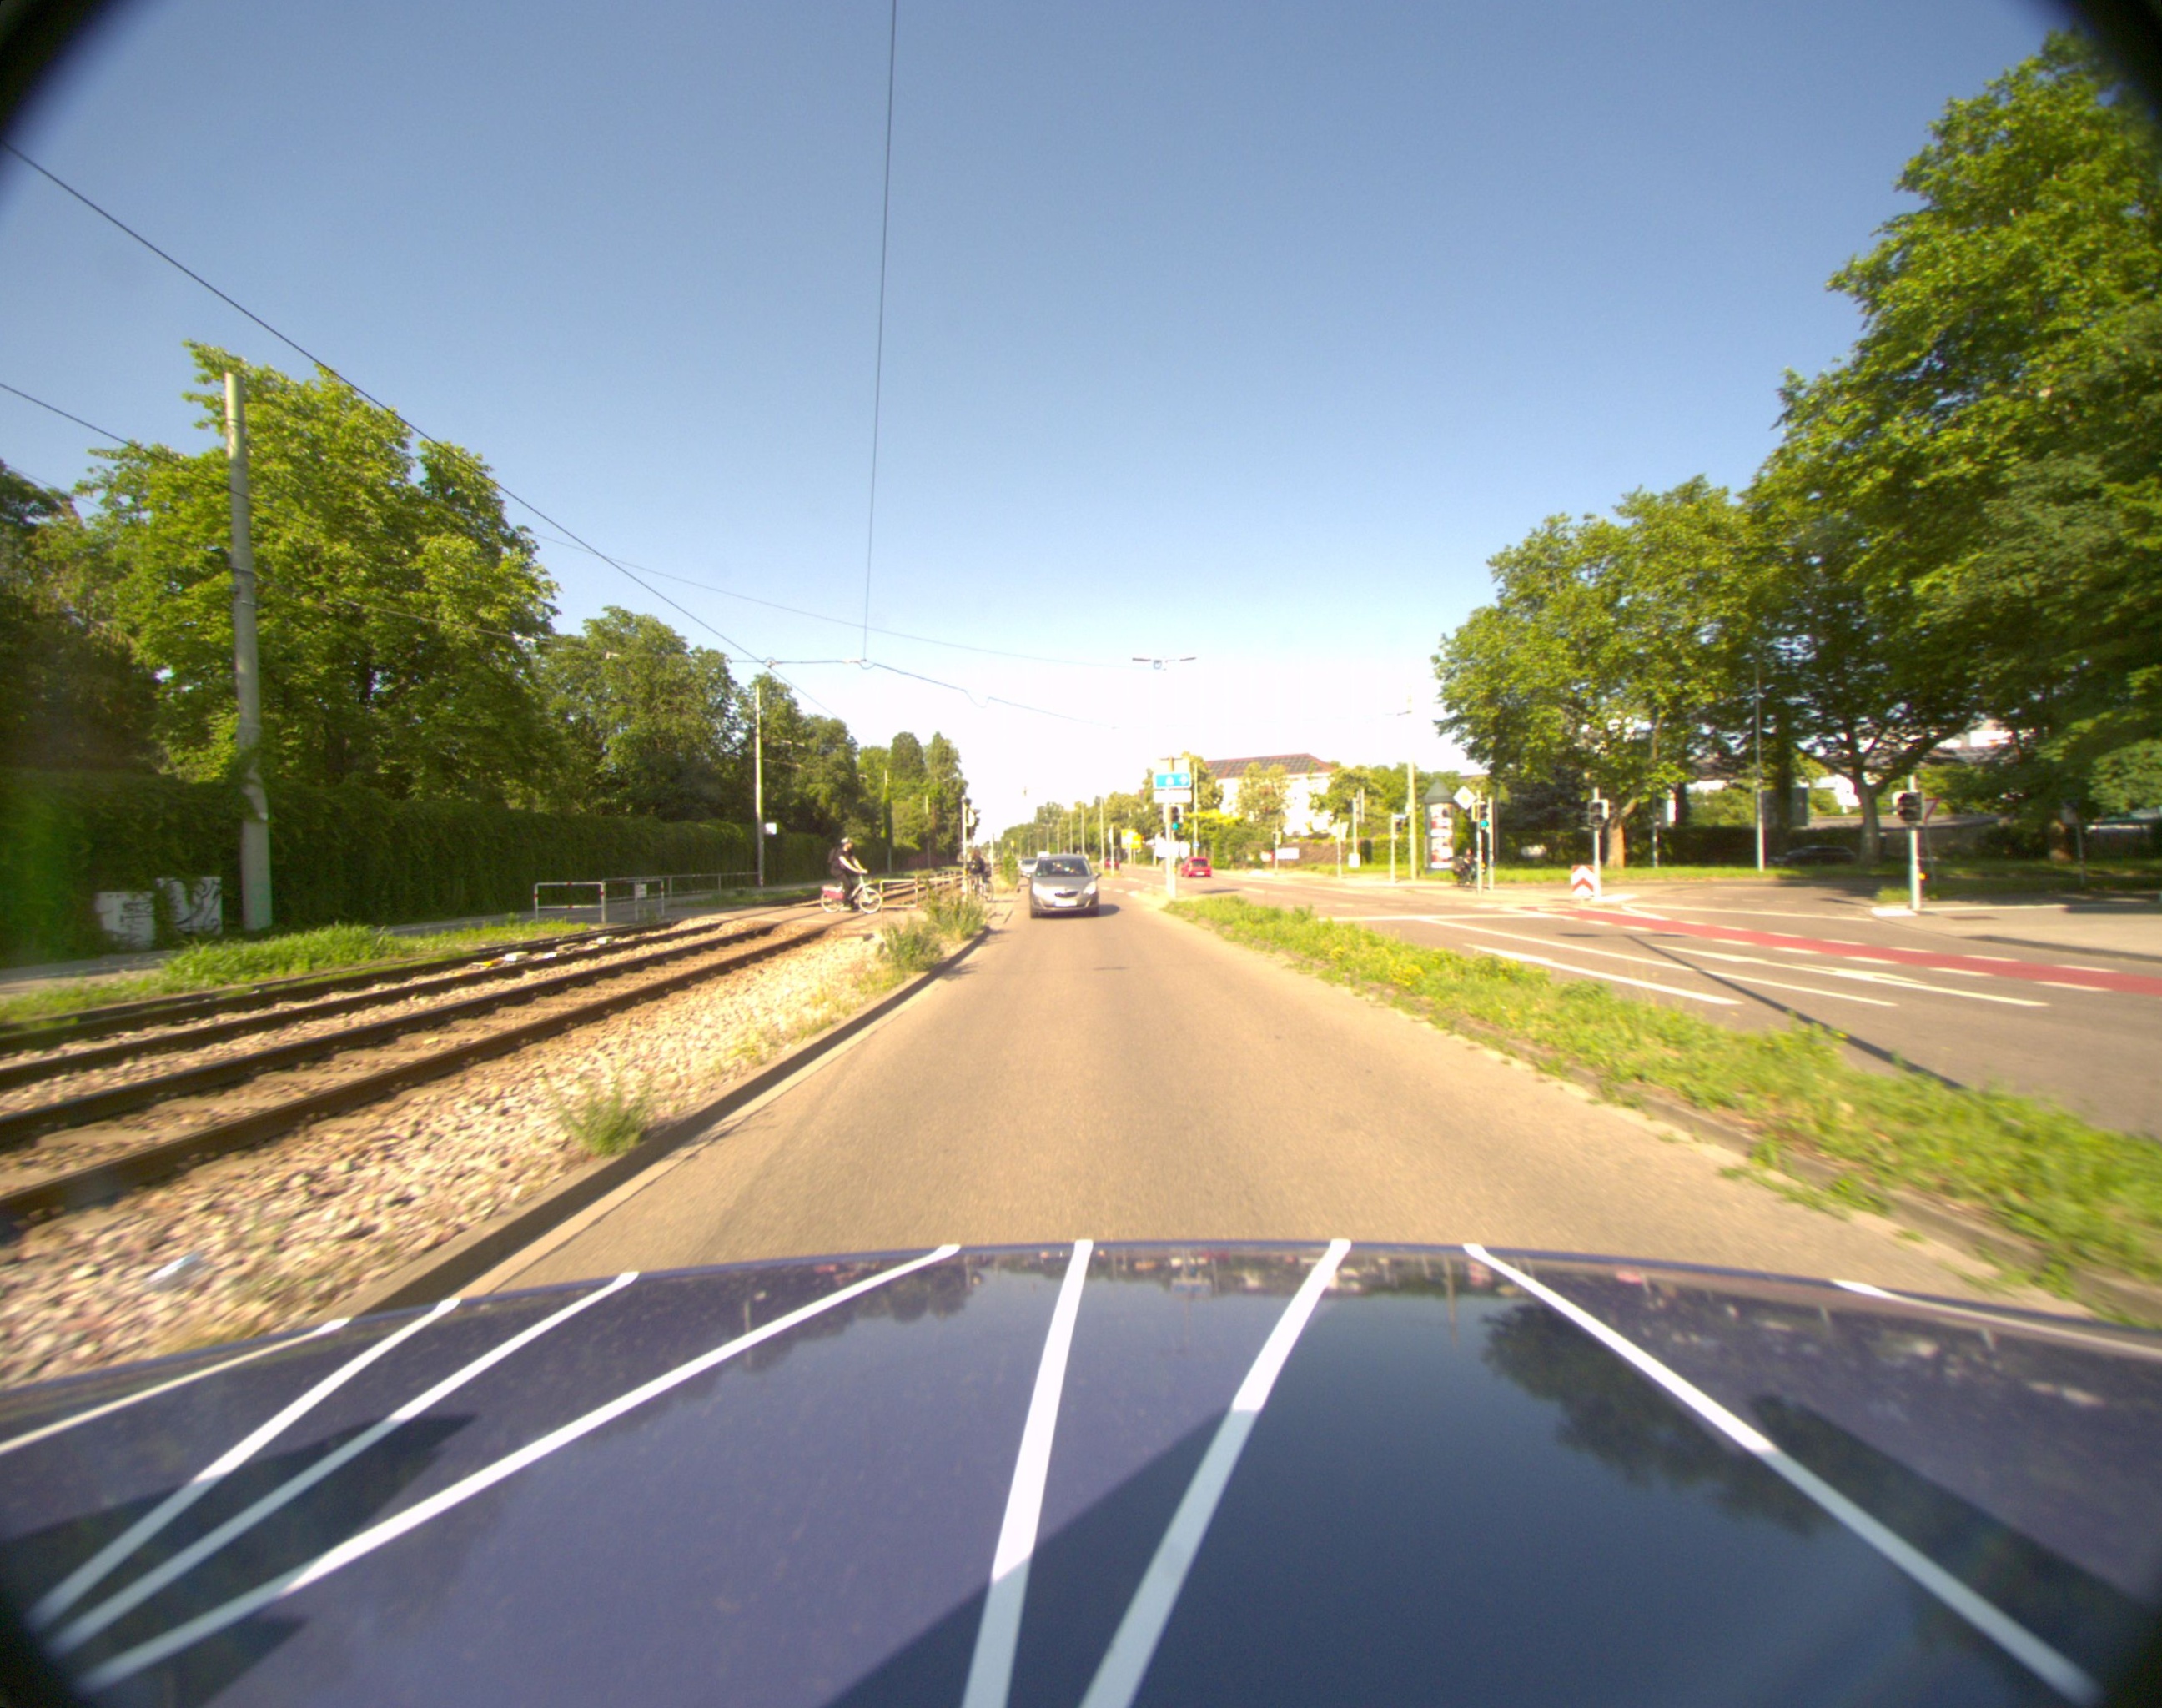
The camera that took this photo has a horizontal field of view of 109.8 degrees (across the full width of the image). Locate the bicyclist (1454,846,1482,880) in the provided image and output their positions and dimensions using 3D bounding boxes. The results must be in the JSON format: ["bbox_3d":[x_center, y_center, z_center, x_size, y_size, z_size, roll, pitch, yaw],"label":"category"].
[{"bbox_3d":[16.667,0.390,32.723,0.663,1.444,1.051,-1,1,1],"label":"bicyclist"}]

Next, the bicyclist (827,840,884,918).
[{"bbox_3d":[-5.897,0.642,19.912,1.034,1.982,0.949,-1,1,22],"label":"bicyclist"}]

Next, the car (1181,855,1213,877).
[{"bbox_3d":[7.940,0.820,52.192,1.578,1.408,3.333,-1,0,-2],"label":"car"}]

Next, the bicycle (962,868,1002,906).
[{"bbox_3d":[-3.242,1.057,25.035,0.644,1.147,1.939,2,1,14],"label":"bicycle"}]

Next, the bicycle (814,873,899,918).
[{"bbox_3d":[-5.883,1.079,19.915,1.923,1.108,0.949,-1,0,22],"label":"bicycle"}]

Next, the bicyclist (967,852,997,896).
[{"bbox_3d":[-3.240,0.643,24.913,0.644,1.408,1.013,-1,1,14],"label":"bicyclist"}]

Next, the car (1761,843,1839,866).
[{"bbox_3d":[45.982,0.013,48.649,3.421,1.300,1.508,-3,1,4],"label":"car"}]

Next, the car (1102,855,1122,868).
[{"bbox_3d":[3.366,0.777,82.601,1.657,1.387,4.132,-1,0,-4],"label":"car"}]

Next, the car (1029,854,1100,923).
[{"bbox_3d":[-0.473,0.829,20.042,1.650,1.581,3.832,-2,0,-2],"label":"car"}]

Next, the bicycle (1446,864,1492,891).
[{"bbox_3d":[16.672,0.988,32.699,0.663,1.043,2.580,-1,0,1],"label":"bicycle"}]

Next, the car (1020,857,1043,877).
[{"bbox_3d":[-4.103,1.039,62.270,1.711,1.513,3.831,-2,0,-5],"label":"car"}]

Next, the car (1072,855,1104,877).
[{"bbox_3d":[0.483,0.884,57.598,1.765,1.477,4.642,-3,0,-6],"label":"car"}]
